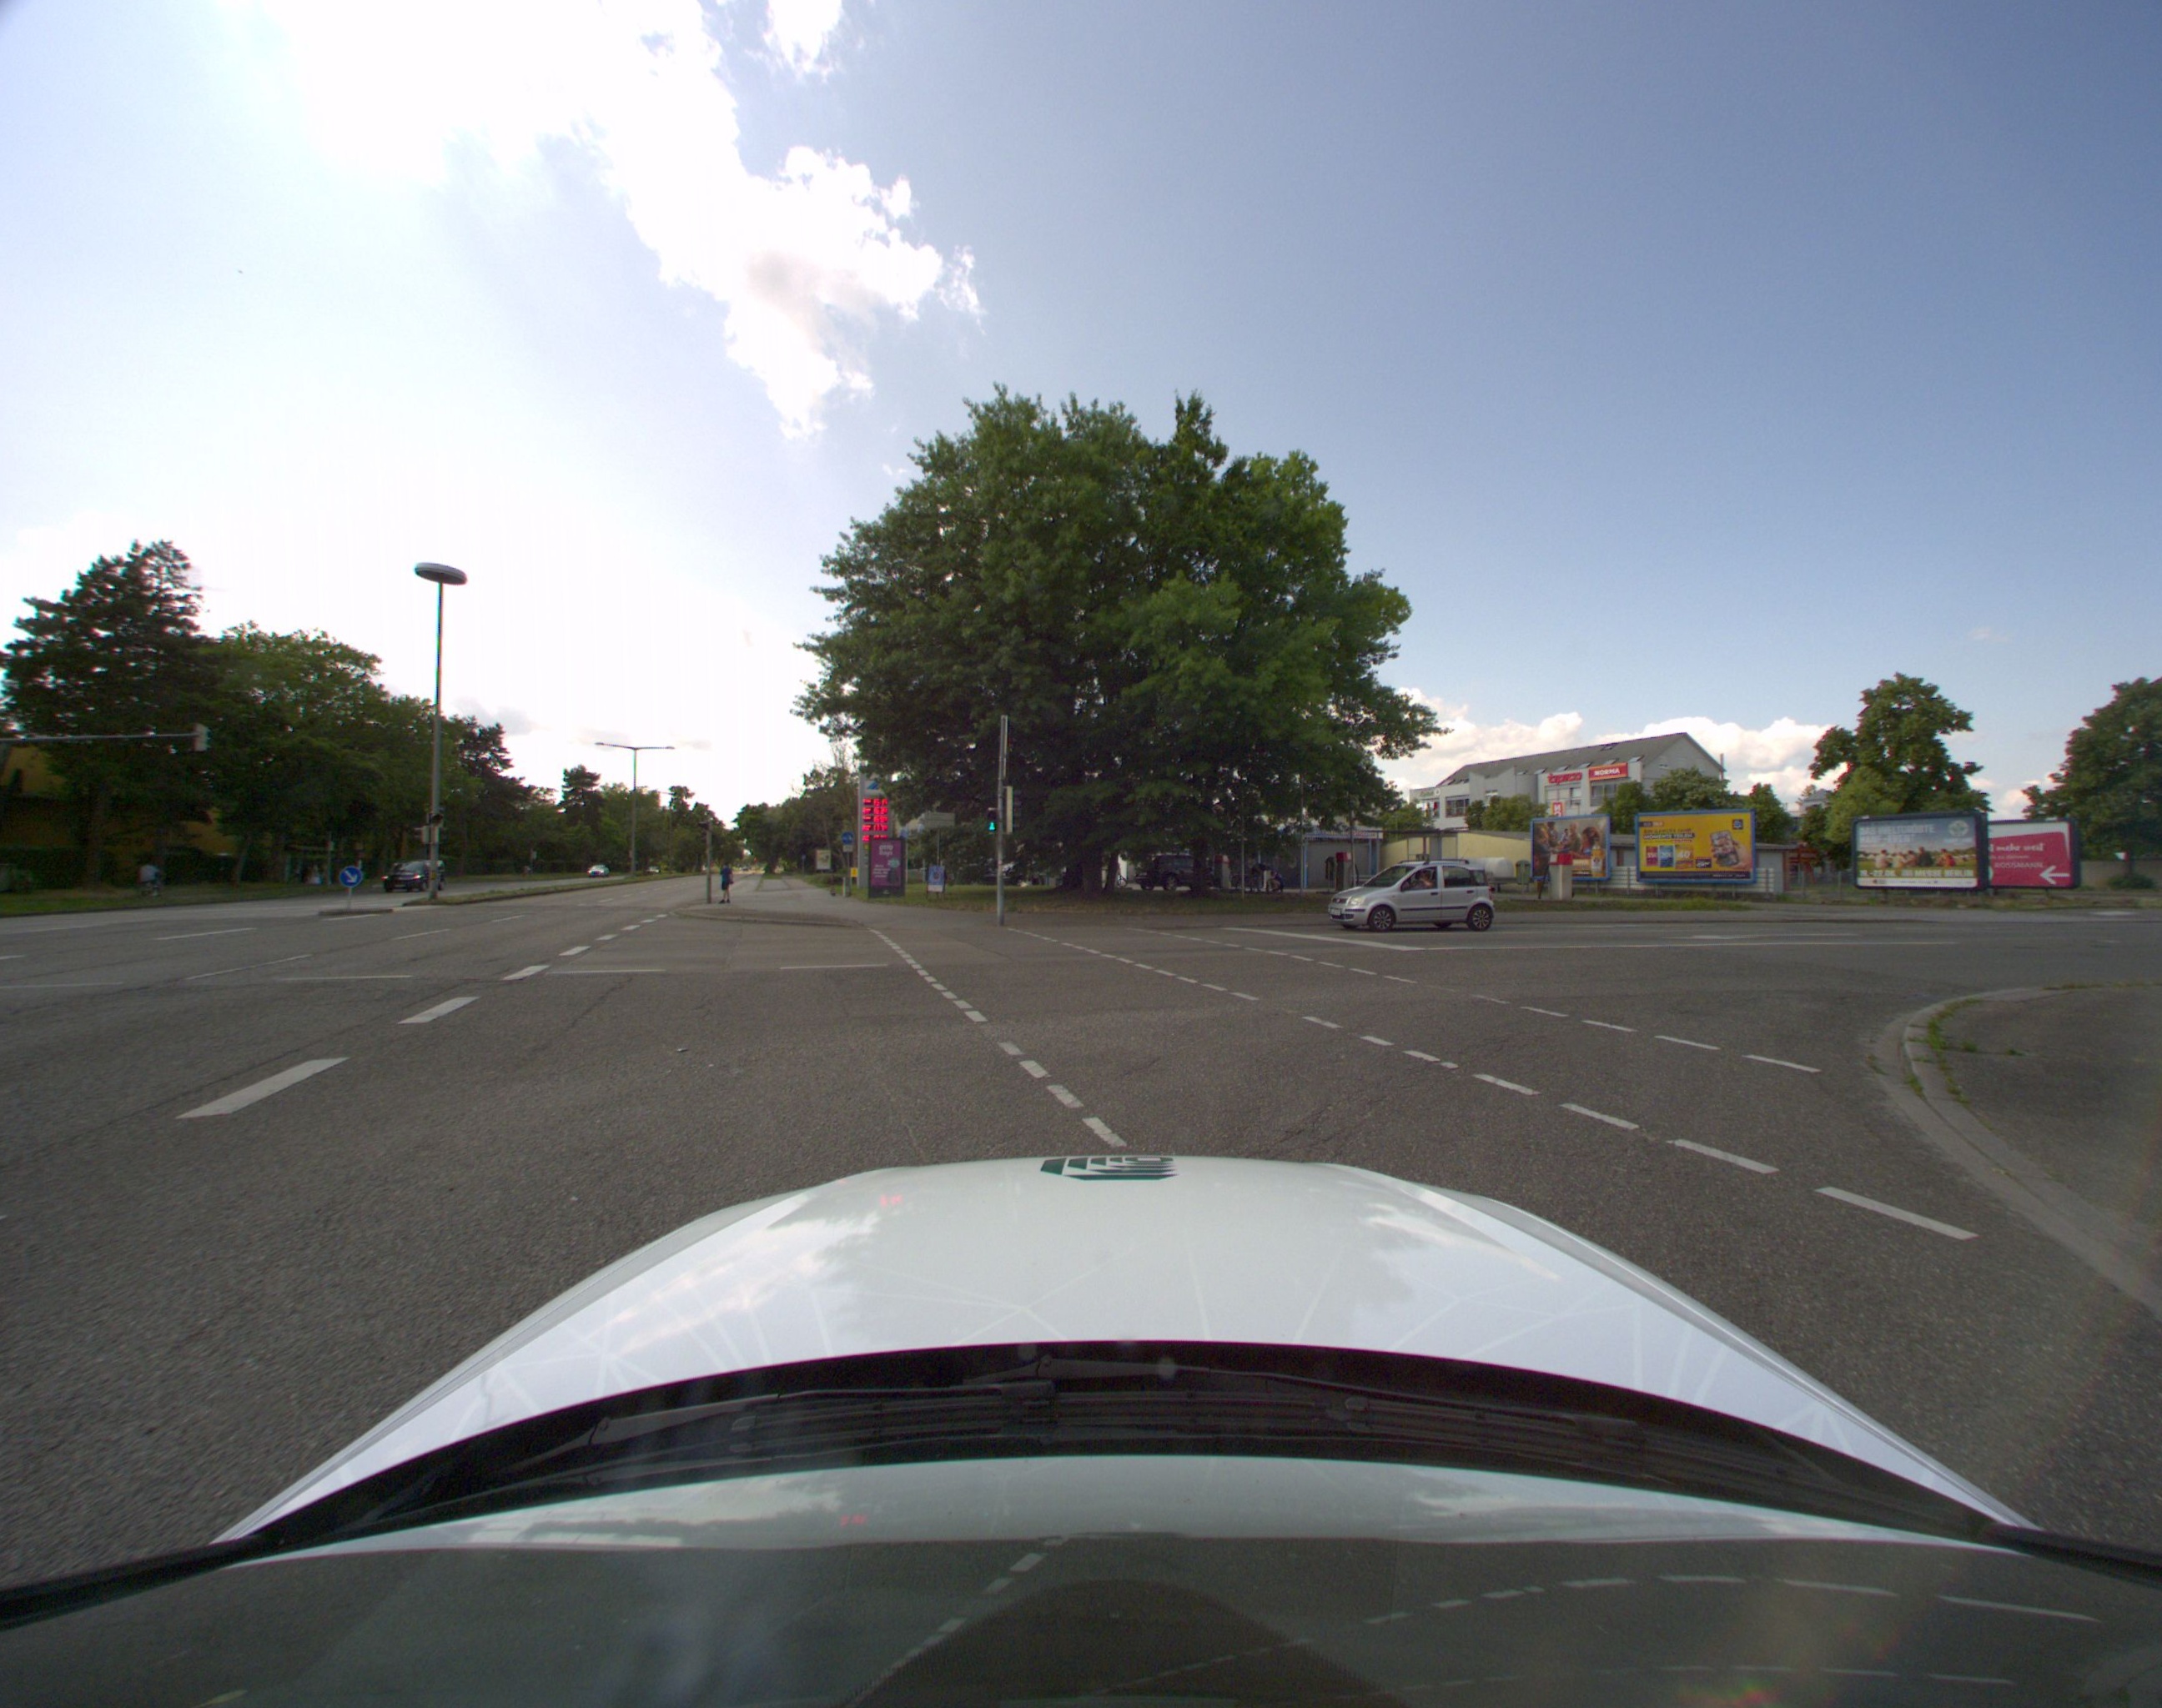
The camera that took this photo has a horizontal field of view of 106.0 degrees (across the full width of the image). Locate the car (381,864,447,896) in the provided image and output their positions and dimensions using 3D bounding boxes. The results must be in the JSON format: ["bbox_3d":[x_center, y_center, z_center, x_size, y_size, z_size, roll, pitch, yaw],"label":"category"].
[{"bbox_3d":[-41.462,1.580,50.770,1.772,1.857,4.782,0,-1,-21],"label":"car"}]

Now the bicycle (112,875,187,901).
[{"bbox_3d":[-42.128,1.512,36.872,0.750,1.119,2.119,0,-1,9],"label":"bicycle"}]

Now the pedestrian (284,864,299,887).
[{"bbox_3d":[-53.709,1.454,55.406,0.574,1.496,0.416,4,-3,-37],"label":"pedestrian"}]

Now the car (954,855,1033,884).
[{"bbox_3d":[-6.216,1.113,57.927,5.206,2.004,2.136,0,-1,-25],"label":"car"}]

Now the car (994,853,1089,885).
[{"bbox_3d":[-2.266,0.873,47.792,5.215,1.827,2.132,0,-1,-32],"label":"car"}]

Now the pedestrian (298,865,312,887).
[{"bbox_3d":[-53.145,1.485,55.792,0.574,1.496,0.416,4,-3,-37],"label":"pedestrian"}]

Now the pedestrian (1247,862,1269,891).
[{"bbox_3d":[7.424,0.958,34.117,0.757,1.190,0.649,0,-3,25],"label":"pedestrian"}]

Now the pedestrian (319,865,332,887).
[{"bbox_3d":[-52.865,1.543,56.990,0.574,1.496,0.416,4,-3,-37],"label":"pedestrian"}]

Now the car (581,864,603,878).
[{"bbox_3d":[-64.284,2.240,107.090,1.867,1.705,4.422,0,-1,-22],"label":"car"}]

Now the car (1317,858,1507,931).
[{"bbox_3d":[7.225,0.855,17.908,3.596,1.517,1.554,0,-1,-9],"label":"car"}]

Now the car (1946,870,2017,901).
[{"bbox_3d":[50.997,1.768,46.108,3.908,1.538,1.638,-2,-1,-26],"label":"car"}]

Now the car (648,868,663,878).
[{"bbox_3d":[-69.343,3.087,132.693,1.868,1.705,4.421,0,-1,-23],"label":"car"}]

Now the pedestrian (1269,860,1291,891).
[{"bbox_3d":[8.242,0.887,33.798,0.757,1.256,0.649,0,-3,25],"label":"pedestrian"}]

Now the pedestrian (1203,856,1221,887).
[{"bbox_3d":[6.327,0.841,39.400,0.563,1.495,0.614,3,-3,-29],"label":"pedestrian"}]

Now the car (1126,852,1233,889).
[{"bbox_3d":[4.540,0.736,37.324,4.580,1.596,2.132,0,-1,-32],"label":"car"}]

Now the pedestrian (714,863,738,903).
[{"bbox_3d":[-13.970,1.140,32.043,0.731,1.532,0.751,1,-2,-38],"label":"pedestrian"}]

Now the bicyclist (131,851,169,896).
[{"bbox_3d":[-42.136,0.881,36.867,0.747,2.014,0.833,0,-1,9],"label":"bicyclist"}]

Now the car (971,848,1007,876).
[{"bbox_3d":[-8.390,0.769,73.990,1.758,2.454,5.706,0,-1,-23],"label":"car"}]

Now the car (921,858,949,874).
[{"bbox_3d":[-13.473,1.120,75.030,1.758,1.454,3.712,0,-1,-23],"label":"car"}]

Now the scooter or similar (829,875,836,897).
[{"bbox_3d":[-11.442,1.457,37.449,0.221,0.979,1.263,0,-1,-21],"label":"scooter or similar"}]
